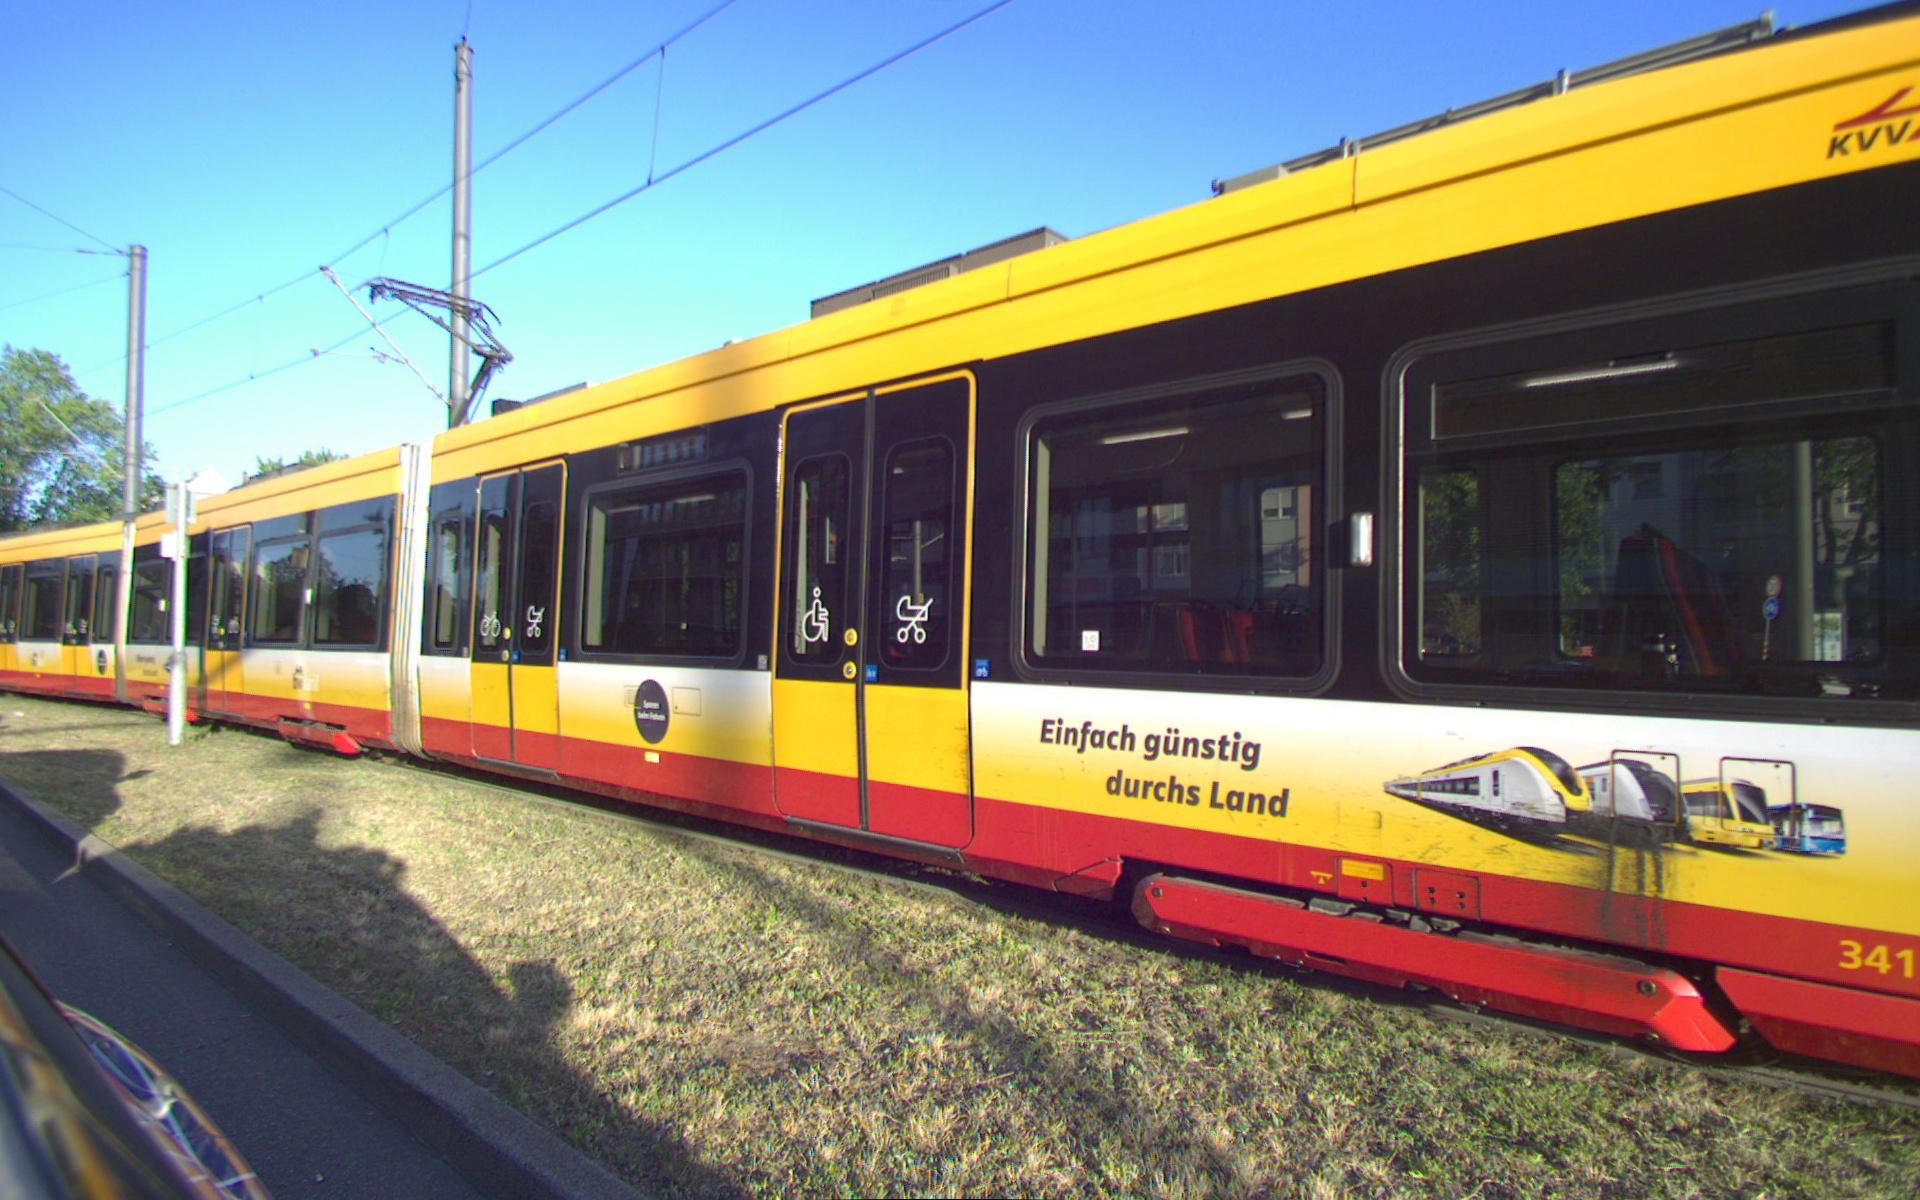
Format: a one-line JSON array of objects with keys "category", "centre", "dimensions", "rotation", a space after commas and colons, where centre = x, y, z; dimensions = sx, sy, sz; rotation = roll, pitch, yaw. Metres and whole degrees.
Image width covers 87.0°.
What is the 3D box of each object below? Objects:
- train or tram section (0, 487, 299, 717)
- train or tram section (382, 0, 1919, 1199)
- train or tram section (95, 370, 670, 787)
[{"category": "train or tram section", "centre": [-18.262, 0.150, 21.098], "dimensions": [12.155, 3.767, 2.882], "rotation": [-1, -2, 33]}, {"category": "train or tram section", "centre": [0.611, -0.285, 6.020], "dimensions": [13.212, 3.767, 2.878], "rotation": [-1, -2, 41]}, {"category": "train or tram section", "centre": [-8.839, -0.065, 14.132], "dimensions": [12.172, 3.767, 2.848], "rotation": [-1, -2, 40]}]
